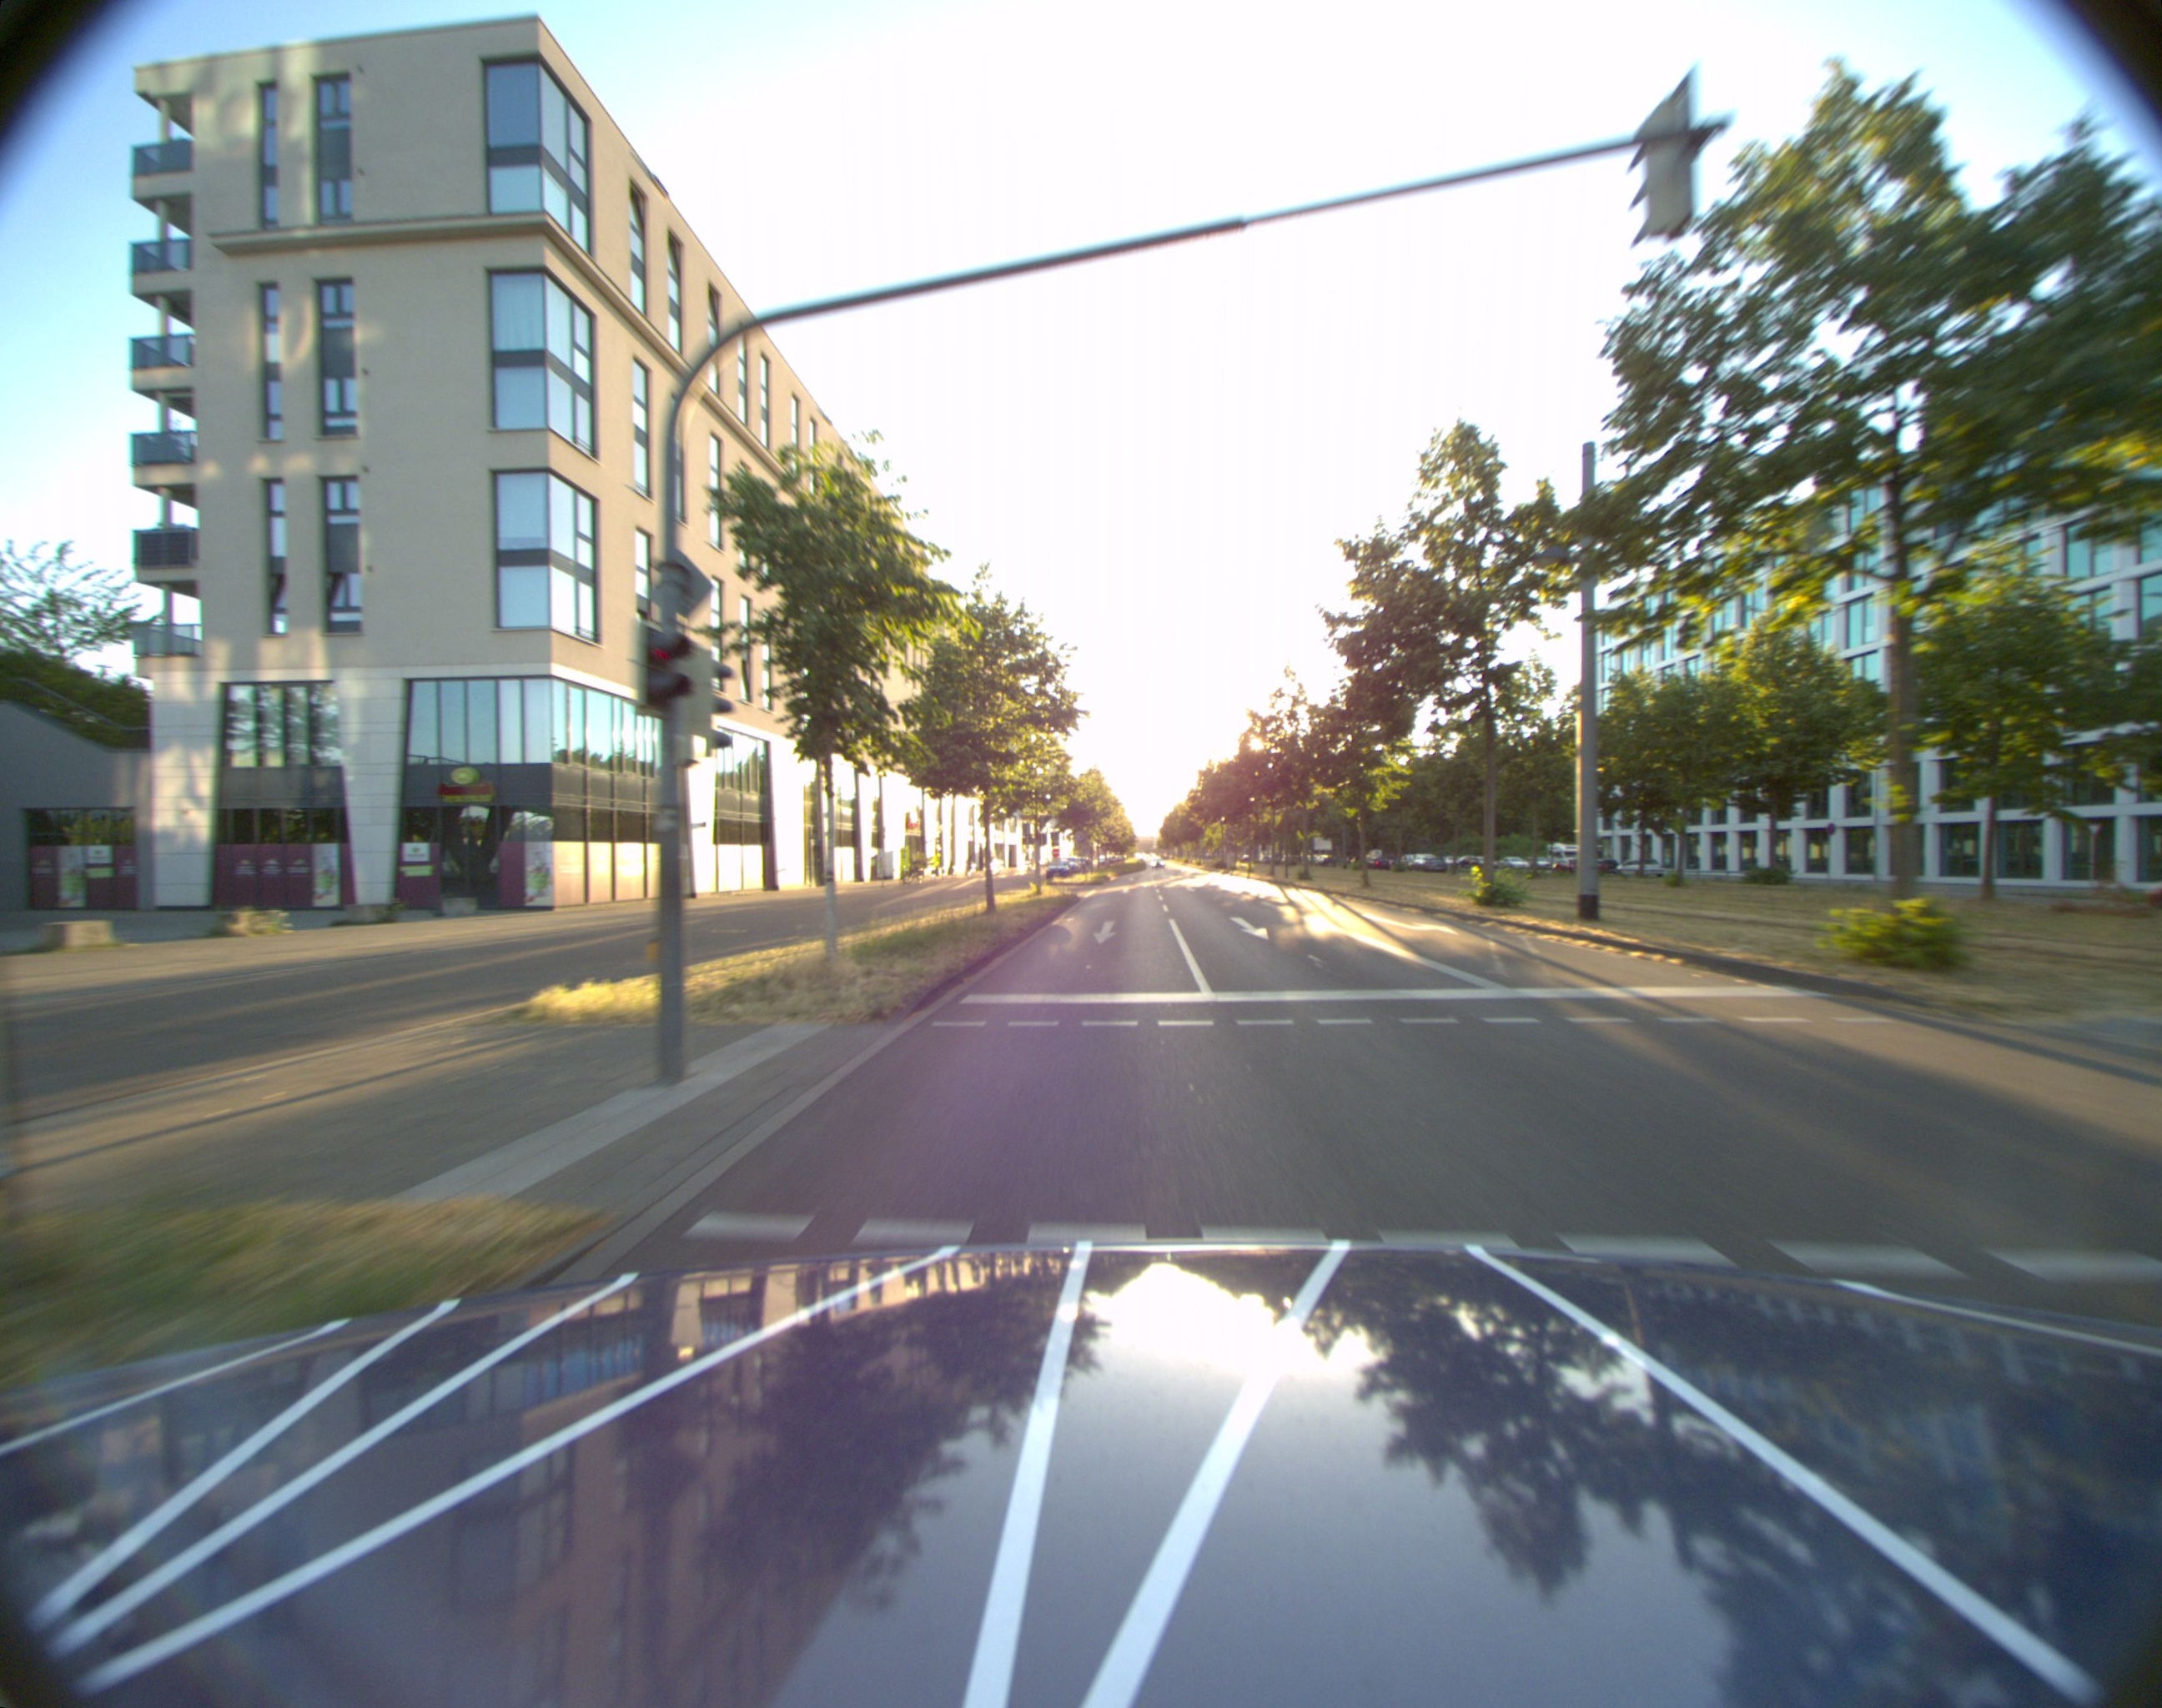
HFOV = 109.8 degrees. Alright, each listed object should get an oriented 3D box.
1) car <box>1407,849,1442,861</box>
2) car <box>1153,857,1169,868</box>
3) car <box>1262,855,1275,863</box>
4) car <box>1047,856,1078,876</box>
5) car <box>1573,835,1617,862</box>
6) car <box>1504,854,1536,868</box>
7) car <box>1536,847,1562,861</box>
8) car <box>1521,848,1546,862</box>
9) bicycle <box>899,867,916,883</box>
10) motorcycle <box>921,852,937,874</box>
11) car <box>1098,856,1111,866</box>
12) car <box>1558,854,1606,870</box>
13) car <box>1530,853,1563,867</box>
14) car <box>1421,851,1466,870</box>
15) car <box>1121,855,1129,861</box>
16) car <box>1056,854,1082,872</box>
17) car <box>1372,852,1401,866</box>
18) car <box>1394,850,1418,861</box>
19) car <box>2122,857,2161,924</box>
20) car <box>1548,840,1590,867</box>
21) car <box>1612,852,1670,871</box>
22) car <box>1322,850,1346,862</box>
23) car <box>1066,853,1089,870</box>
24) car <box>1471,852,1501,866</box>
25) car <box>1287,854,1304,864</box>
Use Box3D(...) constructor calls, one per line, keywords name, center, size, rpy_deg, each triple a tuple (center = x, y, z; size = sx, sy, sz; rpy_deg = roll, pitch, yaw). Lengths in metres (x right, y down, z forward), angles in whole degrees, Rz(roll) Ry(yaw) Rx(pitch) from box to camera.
Box3D(name="car", center=(50.088, 0.199, 110.849), size=(4.081, 1.731, 2.000), rpy_deg=(0, 0, 2))
Box3D(name="car", center=(11.242, 1.113, 106.757), size=(1.998, 1.474, 4.336), rpy_deg=(0, 0, 4))
Box3D(name="car", center=(33.475, 0.960, 135.803), size=(1.649, 1.395, 4.001), rpy_deg=(0, 0, 3))
Box3D(name="car", center=(-1.359, 0.912, 58.274), size=(1.998, 1.455, 4.001), rpy_deg=(0, 0, 4))
Box3D(name="car", center=(58.603, -0.586, 86.788), size=(2.162, 2.973, 5.726), rpy_deg=(0, 0, 12))
Box3D(name="car", center=(50.356, 0.815, 87.168), size=(1.997, 1.583, 4.003), rpy_deg=(0, 0, 11))
Box3D(name="car", center=(59.962, 0.014, 97.422), size=(1.849, 1.801, 4.005), rpy_deg=(0, 0, 17))
Box3D(name="car", center=(58.322, 0.119, 97.997), size=(1.849, 1.801, 4.005), rpy_deg=(0, 0, 17))
Box3D(name="bicycle", center=(-9.987, 1.203, 43.635), size=(0.547, 0.856, 1.573), rpy_deg=(-1, 0, -28))
Box3D(name="motorcycle", center=(-11.589, 0.666, 57.970), size=(0.690, 1.689, 2.124), rpy_deg=(0, 0, 4))
Box3D(name="car", center=(3.874, 1.090, 127.307), size=(1.998, 1.594, 4.001), rpy_deg=(0, 0, 4))
Box3D(name="car", center=(44.157, 0.681, 67.071), size=(1.763, 1.395, 4.001), rpy_deg=(0, 0, 3))
Box3D(name="car", center=(53.005, 0.653, 86.590), size=(1.997, 1.583, 4.003), rpy_deg=(0, 0, 11))
Box3D(name="car", center=(26.974, 0.453, 56.672), size=(1.649, 1.395, 4.001), rpy_deg=(0, 0, 3))
Box3D(name="car", center=(11.371, 0.958, 197.891), size=(1.998, 1.594, 4.001), rpy_deg=(0, 0, 4))
Box3D(name="car", center=(-1.043, 0.796, 69.643), size=(1.998, 1.594, 4.001), rpy_deg=(0, 0, 4))
Box3D(name="car", center=(31.754, 0.541, 79.105), size=(1.649, 1.395, 4.001), rpy_deg=(0, 0, 3))
Box3D(name="car", center=(49.259, 0.220, 115.155), size=(1.998, 1.731, 4.612), rpy_deg=(0, 0, 4))
Box3D(name="car", center=(23.745, 0.778, 14.206), size=(1.998, 1.426, 4.900), rpy_deg=(0, 0, 4))
Box3D(name="car", center=(55.789, -0.066, 86.945), size=(2.162, 2.973, 5.726), rpy_deg=(0, 0, 12))
Box3D(name="car", center=(43.440, 0.570, 59.055), size=(1.763, 1.395, 4.001), rpy_deg=(0, 0, 3))
Box3D(name="car", center=(29.592, 0.230, 89.004), size=(1.649, 1.395, 4.001), rpy_deg=(0, 0, 3))
Box3D(name="car", center=(-0.353, 0.749, 76.550), size=(1.998, 1.594, 4.001), rpy_deg=(0, 0, 4))
Box3D(name="car", center=(48.298, 0.549, 90.652), size=(1.997, 1.583, 4.339), rpy_deg=(0, 0, 11))
Box3D(name="car", center=(31.907, 0.725, 113.024), size=(1.649, 1.395, 4.001), rpy_deg=(0, 0, 3))
